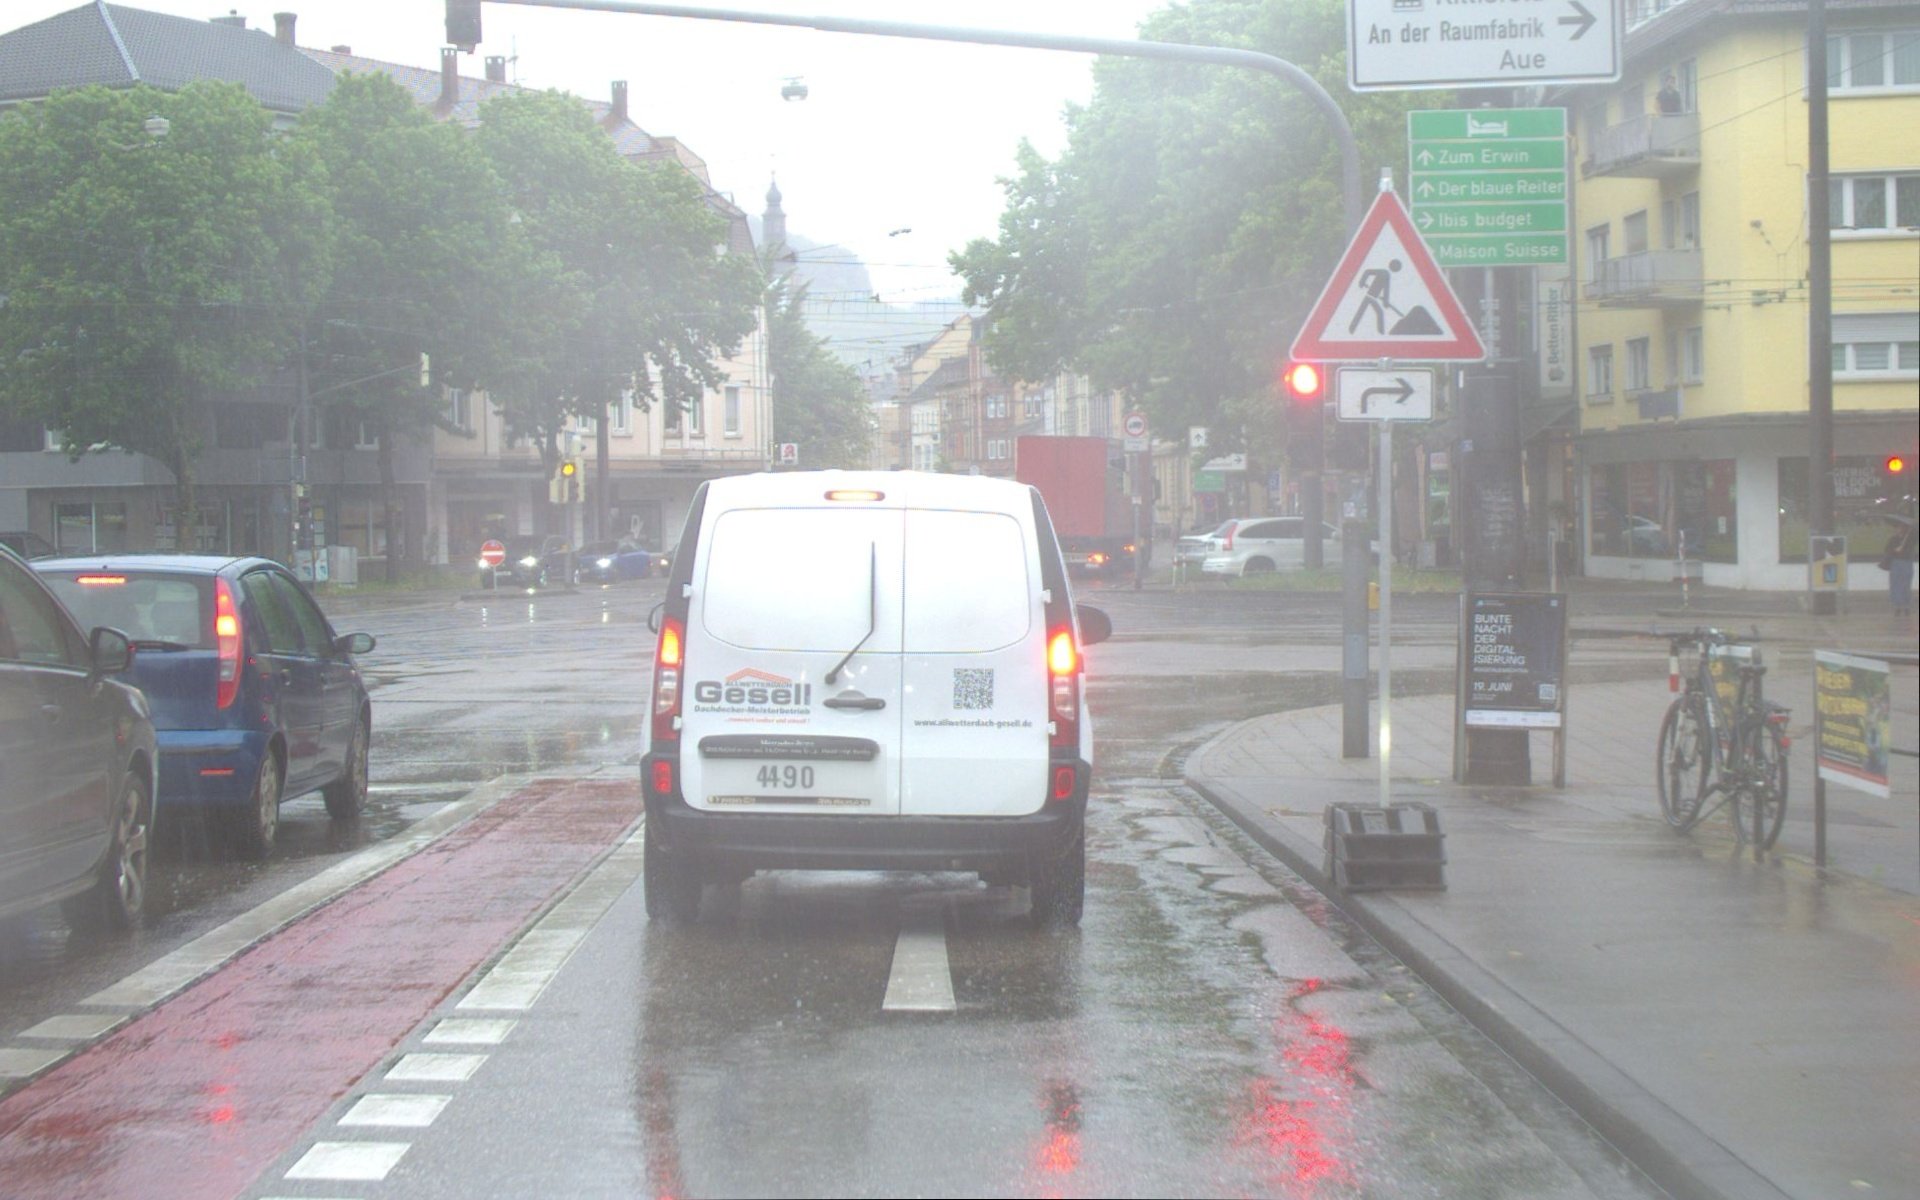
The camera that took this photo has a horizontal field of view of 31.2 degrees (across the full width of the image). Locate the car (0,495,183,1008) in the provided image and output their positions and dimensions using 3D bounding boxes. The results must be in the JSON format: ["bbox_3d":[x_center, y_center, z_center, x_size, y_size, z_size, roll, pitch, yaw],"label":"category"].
[{"bbox_3d":[-4.023,0.473,11.668,1.834,1.662,4.173,1,1,0],"label":"car"}]

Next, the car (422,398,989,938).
[{"bbox_3d":[-0.954,0.227,15.226,2.100,2.005,4.963,0,1,0],"label":"car"}]

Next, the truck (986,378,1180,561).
[{"bbox_3d":[3.889,-3.750,103.412,3.471,5.070,15.300,1,1,11],"label":"truck"}]

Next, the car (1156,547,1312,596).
[{"bbox_3d":[6.492,-0.681,81.489,3.441,1.126,1.472,0,1,-8],"label":"car"}]

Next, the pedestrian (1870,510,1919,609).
[{"bbox_3d":[14.707,-0.638,53.606,0.814,1.528,0.622,0,1,-38],"label":"pedestrian"}]

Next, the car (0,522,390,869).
[{"bbox_3d":[-4.104,0.404,17.638,1.727,1.573,3.821,1,1,0],"label":"car"}]

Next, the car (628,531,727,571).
[{"bbox_3d":[-9.365,-1.643,114.123,1.952,1.235,3.997,1,2,17],"label":"car"}]

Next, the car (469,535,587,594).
[{"bbox_3d":[-12.531,-1.055,99.967,1.952,1.602,3.997,1,2,17],"label":"car"}]

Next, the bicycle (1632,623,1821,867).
[{"bbox_3d":[3.919,0.714,17.709,0.514,1.103,2.017,3,1,1],"label":"bicycle"}]

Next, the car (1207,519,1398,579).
[{"bbox_3d":[7.928,-1.184,79.640,4.165,1.334,1.521,0,2,-7],"label":"car"}]

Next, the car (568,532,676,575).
[{"bbox_3d":[-10.418,-1.449,106.183,1.952,1.235,3.997,1,2,17],"label":"car"}]
